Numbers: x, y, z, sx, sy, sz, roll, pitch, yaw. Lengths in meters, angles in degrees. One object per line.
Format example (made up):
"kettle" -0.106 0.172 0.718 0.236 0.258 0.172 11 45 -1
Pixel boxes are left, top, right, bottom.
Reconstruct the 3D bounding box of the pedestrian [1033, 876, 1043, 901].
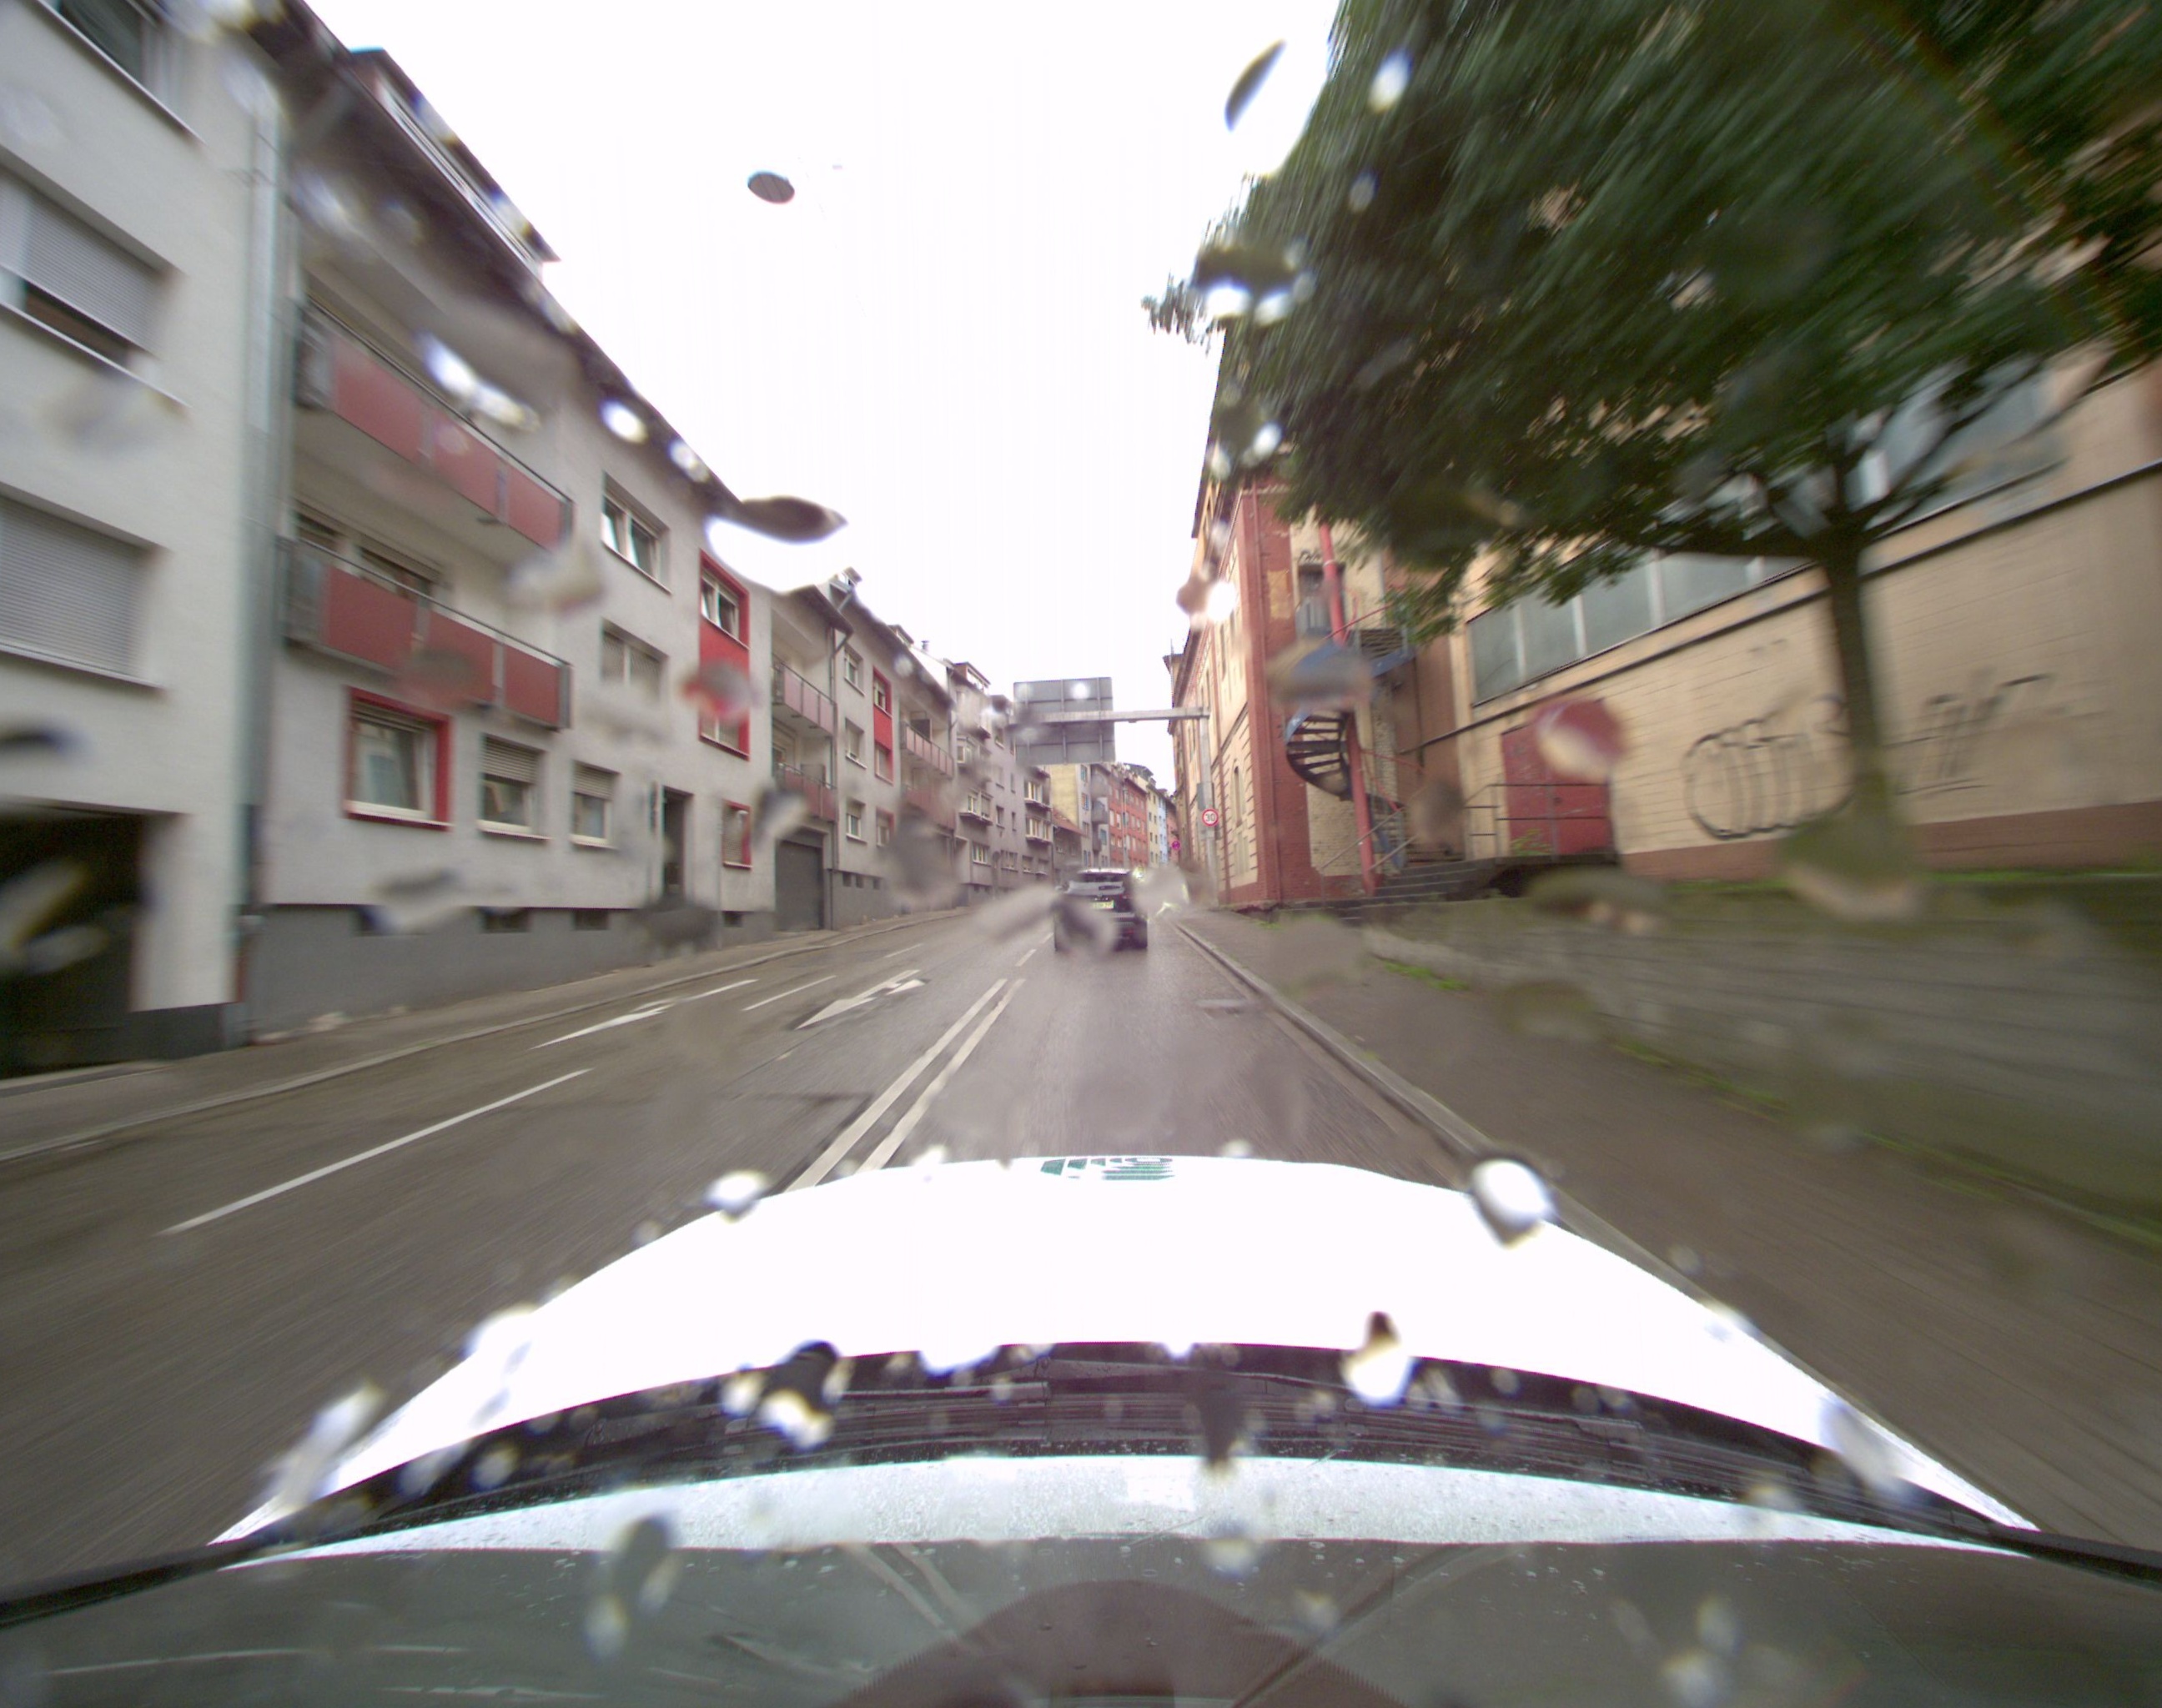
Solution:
"pedestrian" -3.187 2.533 59.845 0.520 1.776 0.624 -4 -2 8

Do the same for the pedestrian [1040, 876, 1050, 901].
"pedestrian" -2.653 2.505 59.768 0.520 1.776 0.624 -4 -2 8

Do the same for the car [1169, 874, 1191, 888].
"car" 11.948 3.270 98.311 1.750 1.577 4.055 -4 -2 19

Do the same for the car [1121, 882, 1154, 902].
"car" 4.747 3.197 68.276 1.780 1.511 4.017 -4 -4 17

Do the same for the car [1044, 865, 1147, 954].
"car" 0.302 1.099 17.103 1.874 1.594 3.921 -2 -2 1
